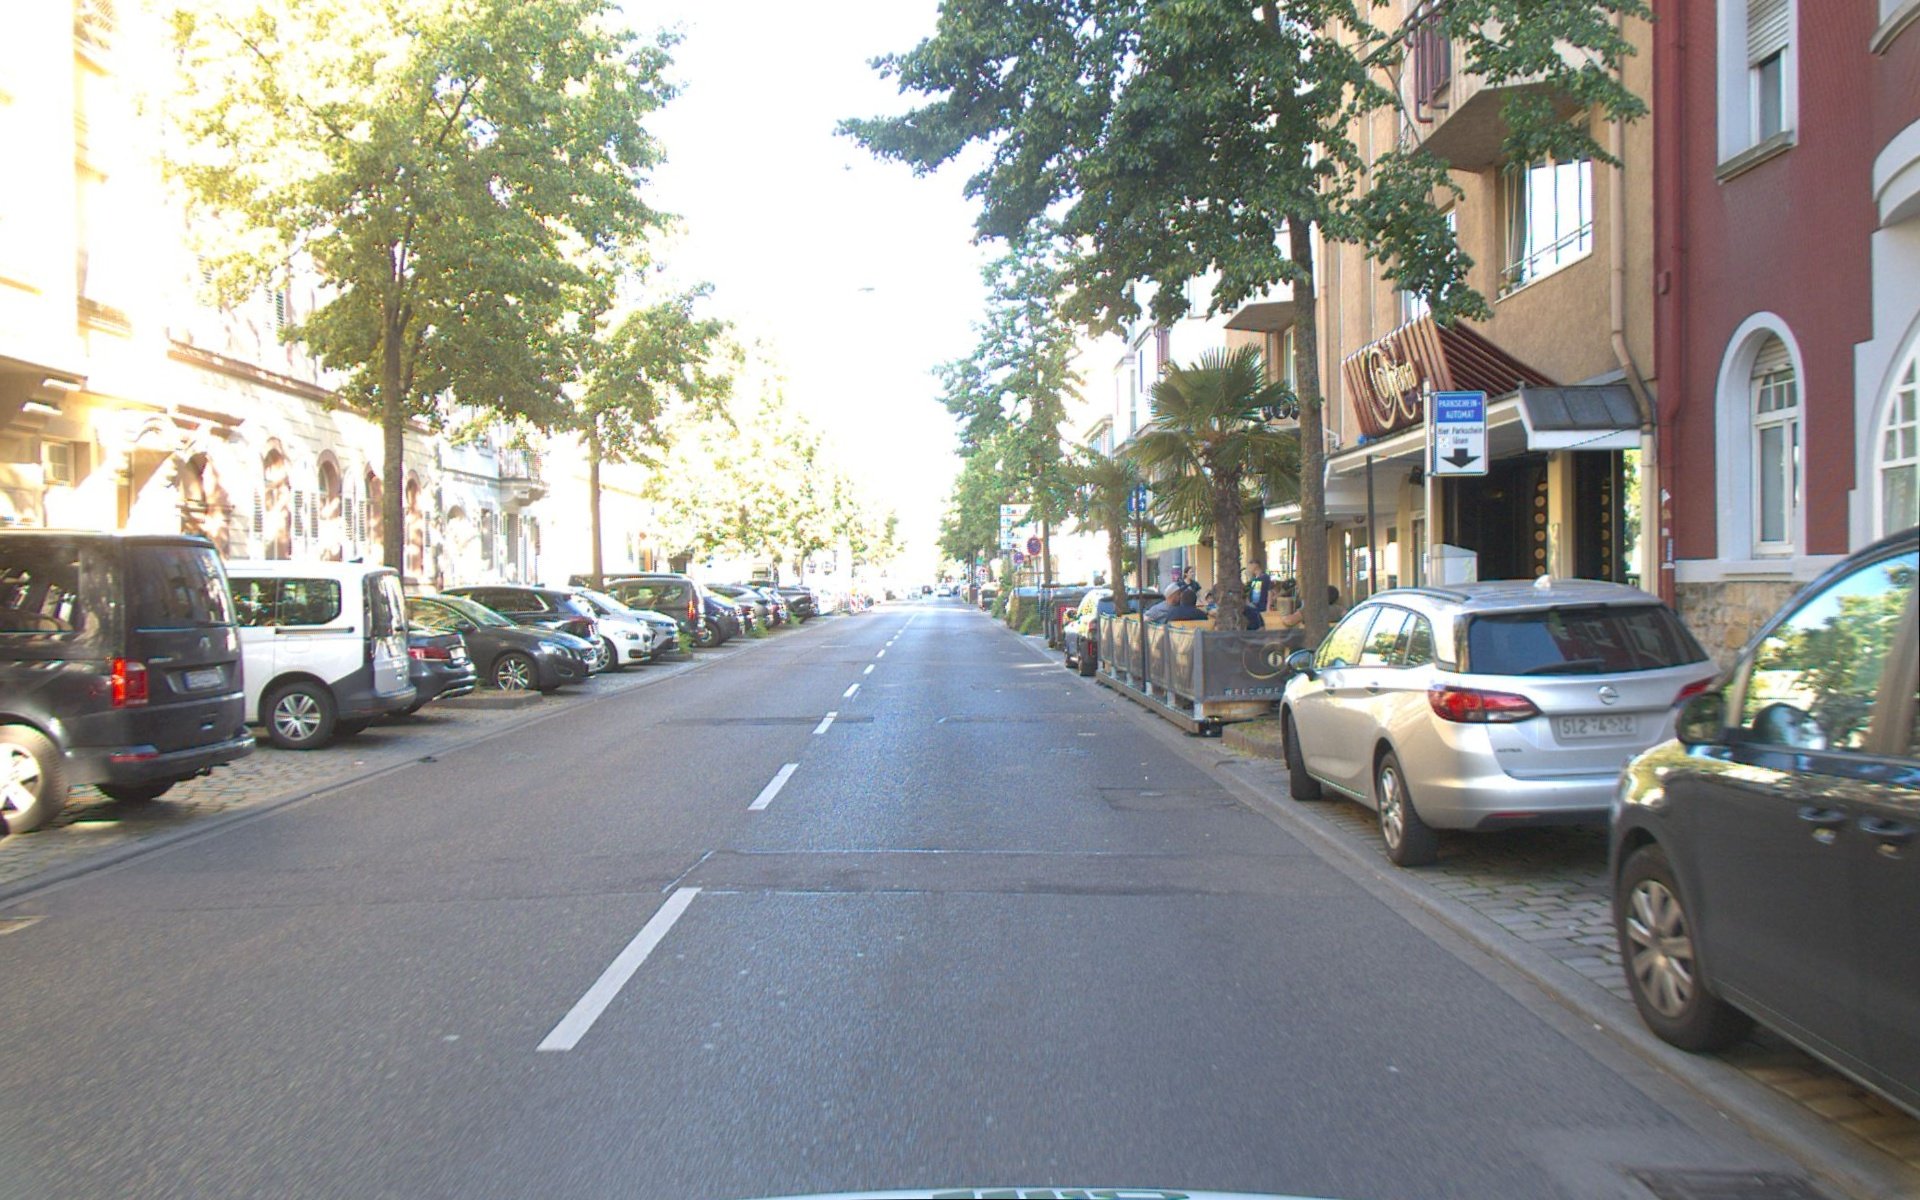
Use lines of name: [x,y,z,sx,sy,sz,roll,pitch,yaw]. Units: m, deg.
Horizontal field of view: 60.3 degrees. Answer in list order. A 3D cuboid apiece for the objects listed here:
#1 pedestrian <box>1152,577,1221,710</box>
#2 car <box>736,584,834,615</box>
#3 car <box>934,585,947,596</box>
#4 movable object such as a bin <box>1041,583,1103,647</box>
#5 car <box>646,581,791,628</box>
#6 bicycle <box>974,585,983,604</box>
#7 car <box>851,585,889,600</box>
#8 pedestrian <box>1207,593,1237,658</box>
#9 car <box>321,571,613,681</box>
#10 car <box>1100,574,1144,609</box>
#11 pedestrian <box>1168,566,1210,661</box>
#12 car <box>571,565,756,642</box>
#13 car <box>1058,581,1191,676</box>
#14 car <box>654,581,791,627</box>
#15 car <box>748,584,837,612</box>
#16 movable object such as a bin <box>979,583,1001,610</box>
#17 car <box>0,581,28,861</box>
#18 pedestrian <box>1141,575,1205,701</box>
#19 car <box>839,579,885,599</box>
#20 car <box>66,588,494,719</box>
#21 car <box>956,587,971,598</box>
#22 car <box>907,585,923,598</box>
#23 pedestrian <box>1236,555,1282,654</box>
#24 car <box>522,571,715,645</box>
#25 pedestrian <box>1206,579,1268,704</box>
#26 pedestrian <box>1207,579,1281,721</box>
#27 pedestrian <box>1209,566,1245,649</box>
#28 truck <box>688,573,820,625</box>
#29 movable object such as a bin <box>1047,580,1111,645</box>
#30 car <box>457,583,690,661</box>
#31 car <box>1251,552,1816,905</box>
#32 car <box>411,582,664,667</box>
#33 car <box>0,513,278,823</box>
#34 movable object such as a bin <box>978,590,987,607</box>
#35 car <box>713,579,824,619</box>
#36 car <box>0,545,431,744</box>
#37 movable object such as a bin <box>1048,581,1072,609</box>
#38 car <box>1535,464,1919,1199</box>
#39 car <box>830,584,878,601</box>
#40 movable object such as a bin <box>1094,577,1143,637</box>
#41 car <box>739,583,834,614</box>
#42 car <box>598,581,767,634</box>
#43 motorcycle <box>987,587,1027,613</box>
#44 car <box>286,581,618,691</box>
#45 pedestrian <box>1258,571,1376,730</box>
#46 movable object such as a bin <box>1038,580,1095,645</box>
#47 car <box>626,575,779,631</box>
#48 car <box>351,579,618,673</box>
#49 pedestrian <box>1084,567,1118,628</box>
pedestrian: [2.724,0.510,19.841,0.733,1.563,0.808,-1,0,14]
car: [-8.336,-0.027,79.299,4.588,1.491,1.807,0,0,-4]
car: [-2.585,-1.235,220.520,1.756,1.436,3.999,-1,1,-1]
movable object such as a bin: [2.677,0.345,39.613,1.370,1.479,1.146,-1,0,-1]
car: [-8.114,0.147,55.833,4.584,1.546,1.808,0,0,0]
bicycle: [1.498,-0.444,135.125,0.549,1.465,1.628,-6,1,-1]
car: [-9.374,-0.809,172.498,3.906,1.526,1.999,-1,1,-2]
pedestrian: [4.859,0.466,30.687,0.434,1.183,0.501,-1,0,-3]
car: [-8.067,0.412,27.353,4.251,1.739,1.916,0,0,-1]
car: [8.215,-0.436,84.269,1.862,1.677,4.294,-1,0,1]
pedestrian: [4.251,0.246,30.735,0.604,1.725,0.761,-1,0,-4]
car: [-7.859,0.081,44.150,4.584,1.984,1.917,0,0,0]
car: [2.873,0.453,29.893,1.785,1.497,4.911,-3,0,-1]
car: [-8.396,0.134,58.697,4.584,1.599,1.808,0,0,0]
car: [-8.758,-0.084,86.866,4.588,1.437,1.807,0,0,-4]
movable object such as a bin: [1.793,-0.227,98.965,1.118,1.589,1.460,-1,0,7]
car: [-7.671,0.699,8.841,4.252,1.623,1.915,0,0,-3]
pedestrian: [2.712,0.471,21.139,0.637,1.563,0.979,-1,0,-2]
car: [-8.874,-0.969,149.736,3.903,1.724,2.001,-1,1,4]
car: [-7.890,0.597,19.520,4.252,1.464,1.915,0,0,-3]
car: [0.481,-1.008,236.150,1.953,1.534,3.999,0,0,-1]
car: [-5.331,-1.003,196.603,1.766,1.460,4.408,-3,0,-2]
pedestrian: [5.277,0.072,29.198,0.498,1.725,0.622,-1,0,-38]
car: [-8.457,0.193,41.233,4.374,1.803,1.917,0,0,0]
pedestrian: [3.543,0.517,21.125,0.696,1.563,0.770,-1,0,14]
pedestrian: [3.208,0.555,18.731,0.678,1.563,0.776,-1,0,0]
pedestrian: [5.436,0.147,33.746,0.604,1.670,0.762,-1,0,1]
truck: [-8.174,-0.055,65.971,4.982,1.972,2.000,-1,0,-2]
movable object such as a bin: [2.759,0.276,38.404,1.370,1.479,1.146,-1,0,-1]
car: [-8.037,0.440,34.627,4.373,1.568,1.917,0,0,3]
car: [3.222,0.604,10.474,1.785,1.624,4.841,-3,0,-1]
car: [-8.057,0.459,31.832,4.376,1.568,1.916,0,0,-2]
car: [-7.398,0.417,11.529,4.478,1.960,1.930,0,0,2]
movable object such as a bin: [1.561,-0.100,116.079,0.609,1.200,0.711,-1,0,-3]
car: [-8.239,-0.051,71.423,4.584,1.723,1.808,0,0,0]
car: [-7.700,0.413,16.682,4.261,1.866,1.912,0,0,-11]
movable object such as a bin: [5.736,-0.280,95.093,1.245,1.557,1.176,-1,0,-3]
car: [3.108,0.547,4.108,1.784,1.808,4.932,-3,0,3]
car: [-8.752,-0.625,136.826,3.906,1.414,1.999,-1,1,-2]
movable object such as a bin: [3.896,0.161,40.800,1.055,1.456,1.295,-1,0,-1]
car: [-8.579,-0.095,81.856,4.588,1.491,1.807,0,0,-4]
car: [-7.926,0.203,47.514,4.551,1.484,1.683,0,0,-1]
motorcycle: [2.525,-0.009,88.642,1.943,1.353,0.909,-1,1,-13]
car: [-7.542,0.513,24.874,4.374,1.568,1.917,0,0,1]
pedestrian: [3.626,0.501,16.894,1.034,1.563,0.892,-1,0,3]
movable object such as a bin: [2.616,0.301,40.776,1.303,1.569,1.146,-1,0,-1]
car: [-8.207,0.087,52.895,4.584,1.742,1.808,0,0,0]
car: [-8.447,0.450,29.628,4.251,1.609,1.808,0,0,-1]
pedestrian: [4.617,-0.080,54.053,0.906,1.969,0.761,0,0,24]
